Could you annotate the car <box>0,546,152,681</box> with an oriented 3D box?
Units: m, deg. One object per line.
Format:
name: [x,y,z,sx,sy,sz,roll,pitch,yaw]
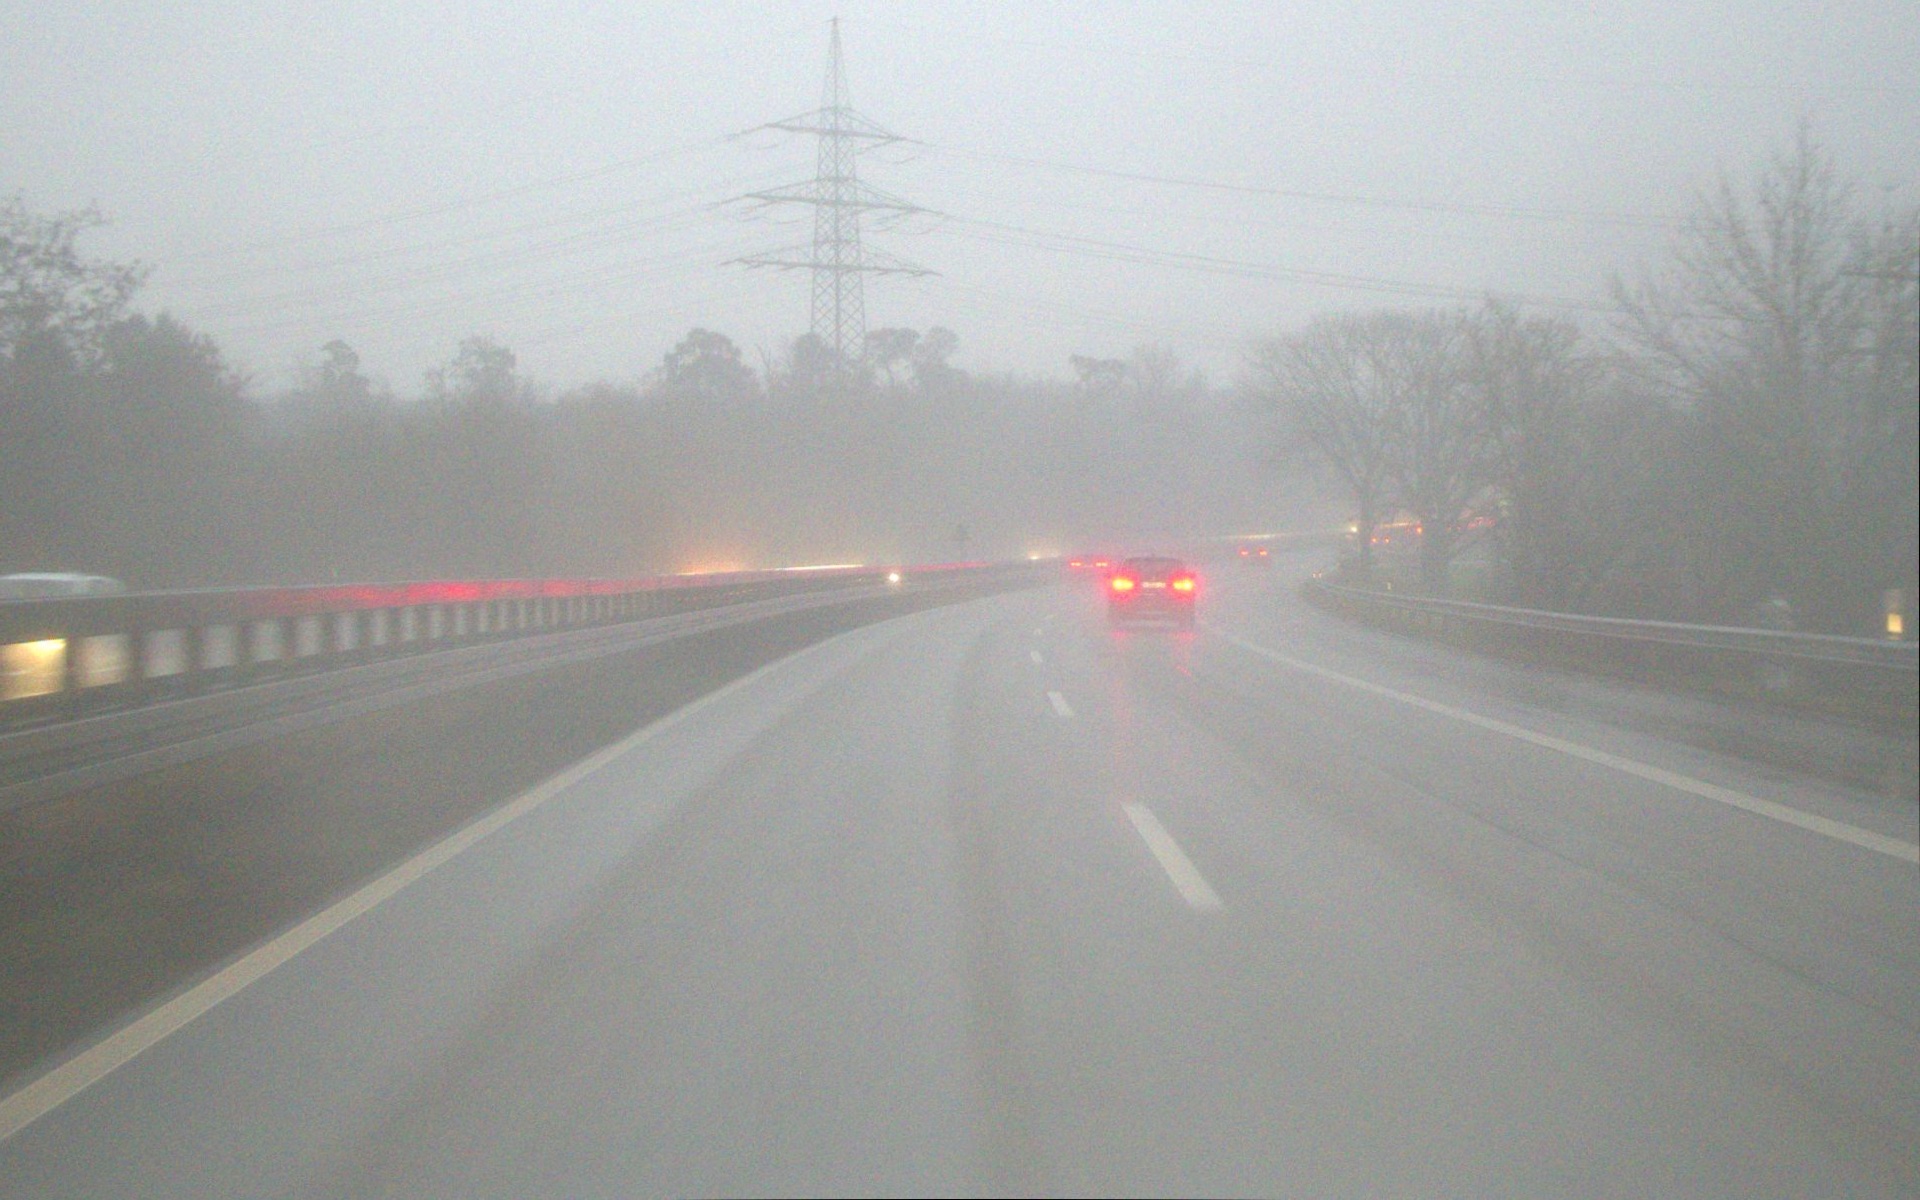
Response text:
car: [-11.679,0.133,43.708,1.716,1.418,4.000,8,1,0]
